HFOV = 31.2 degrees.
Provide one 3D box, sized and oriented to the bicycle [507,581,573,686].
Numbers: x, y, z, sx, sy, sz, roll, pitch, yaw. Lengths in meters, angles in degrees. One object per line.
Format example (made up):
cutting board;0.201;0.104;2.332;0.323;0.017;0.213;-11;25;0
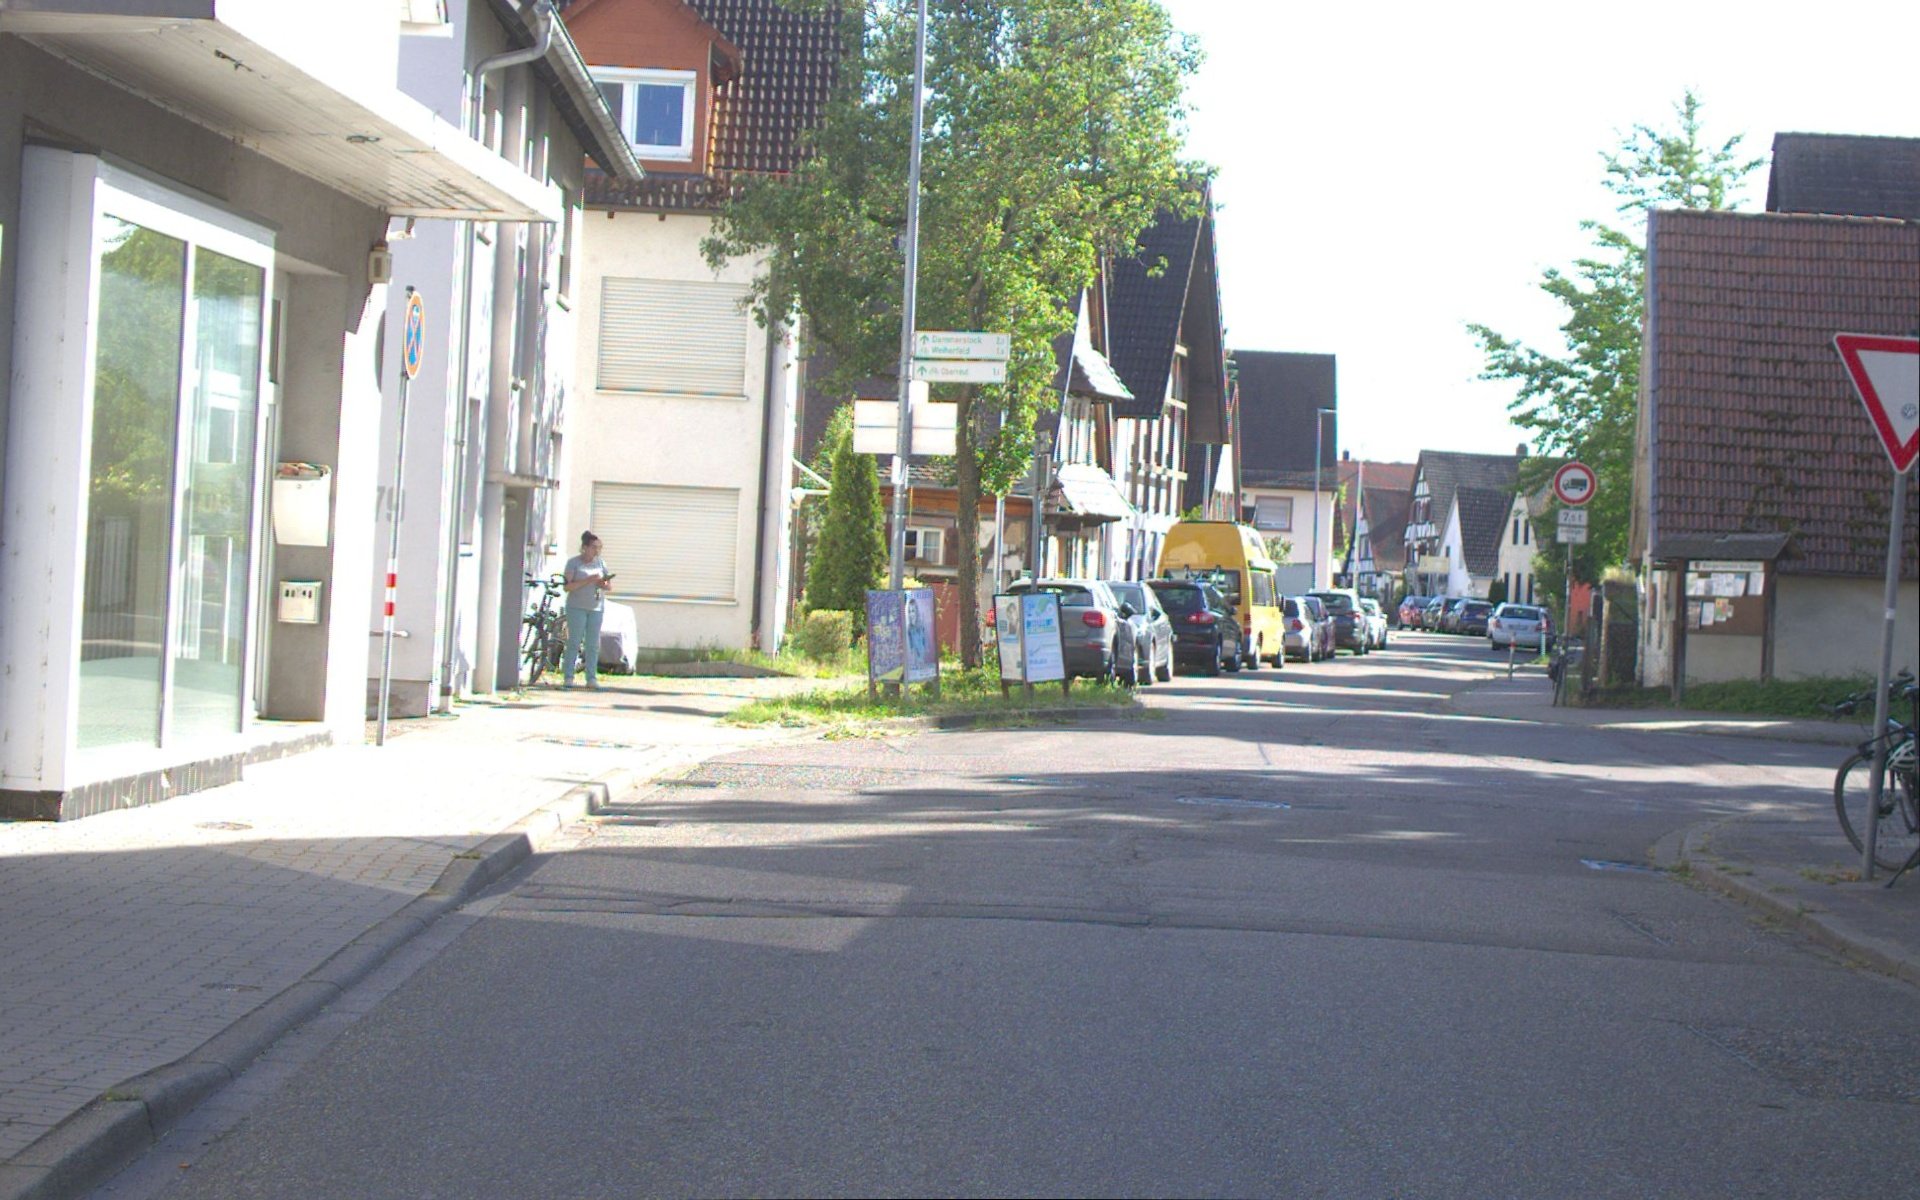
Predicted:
bicycle;-4.350;0.350;35.637;0.423;1.049;1.381;3;-1;2

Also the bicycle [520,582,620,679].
bicycle;-4.420;0.353;39.057;0.578;1.049;2.035;3;-1;8

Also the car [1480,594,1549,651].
car;17.934;0.723;111.261;1.974;1.708;3.993;3;0;7

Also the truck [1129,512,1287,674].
truck;4.819;-0.109;65.918;2.269;2.859;5.780;3;0;10

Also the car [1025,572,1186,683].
car;2.230;0.414;51.743;1.807;1.500;4.105;3;0;10

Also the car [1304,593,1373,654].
car;9.684;0.598;87.821;1.588;1.438;3.613;3;0;7

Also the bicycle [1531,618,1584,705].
bicycle;8.394;0.856;48.246;0.434;1.172;1.827;3;0;18

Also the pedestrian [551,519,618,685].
pedestrian;-3.904;0.026;35.785;0.483;1.687;0.556;3;-1;5

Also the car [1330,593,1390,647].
car;11.600;0.573;99.581;1.588;1.438;3.613;3;0;7

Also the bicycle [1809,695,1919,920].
bicycle;5.067;1.088;18.414;0.435;1.076;1.890;2;0;-3

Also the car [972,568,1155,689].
car;1.474;0.401;47.418;1.868;1.500;4.105;3;0;10

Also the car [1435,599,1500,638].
car;22.696;0.811;153.740;1.973;1.577;3.995;3;0;-4

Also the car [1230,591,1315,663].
car;6.825;0.580;74.828;1.646;1.428;3.613;3;0;7

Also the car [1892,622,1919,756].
car;12.624;1.117;38.223;3.987;1.472;1.665;4;0;1

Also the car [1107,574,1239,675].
car;3.787;0.434;60.538;1.807;1.616;3.879;3;0;10
